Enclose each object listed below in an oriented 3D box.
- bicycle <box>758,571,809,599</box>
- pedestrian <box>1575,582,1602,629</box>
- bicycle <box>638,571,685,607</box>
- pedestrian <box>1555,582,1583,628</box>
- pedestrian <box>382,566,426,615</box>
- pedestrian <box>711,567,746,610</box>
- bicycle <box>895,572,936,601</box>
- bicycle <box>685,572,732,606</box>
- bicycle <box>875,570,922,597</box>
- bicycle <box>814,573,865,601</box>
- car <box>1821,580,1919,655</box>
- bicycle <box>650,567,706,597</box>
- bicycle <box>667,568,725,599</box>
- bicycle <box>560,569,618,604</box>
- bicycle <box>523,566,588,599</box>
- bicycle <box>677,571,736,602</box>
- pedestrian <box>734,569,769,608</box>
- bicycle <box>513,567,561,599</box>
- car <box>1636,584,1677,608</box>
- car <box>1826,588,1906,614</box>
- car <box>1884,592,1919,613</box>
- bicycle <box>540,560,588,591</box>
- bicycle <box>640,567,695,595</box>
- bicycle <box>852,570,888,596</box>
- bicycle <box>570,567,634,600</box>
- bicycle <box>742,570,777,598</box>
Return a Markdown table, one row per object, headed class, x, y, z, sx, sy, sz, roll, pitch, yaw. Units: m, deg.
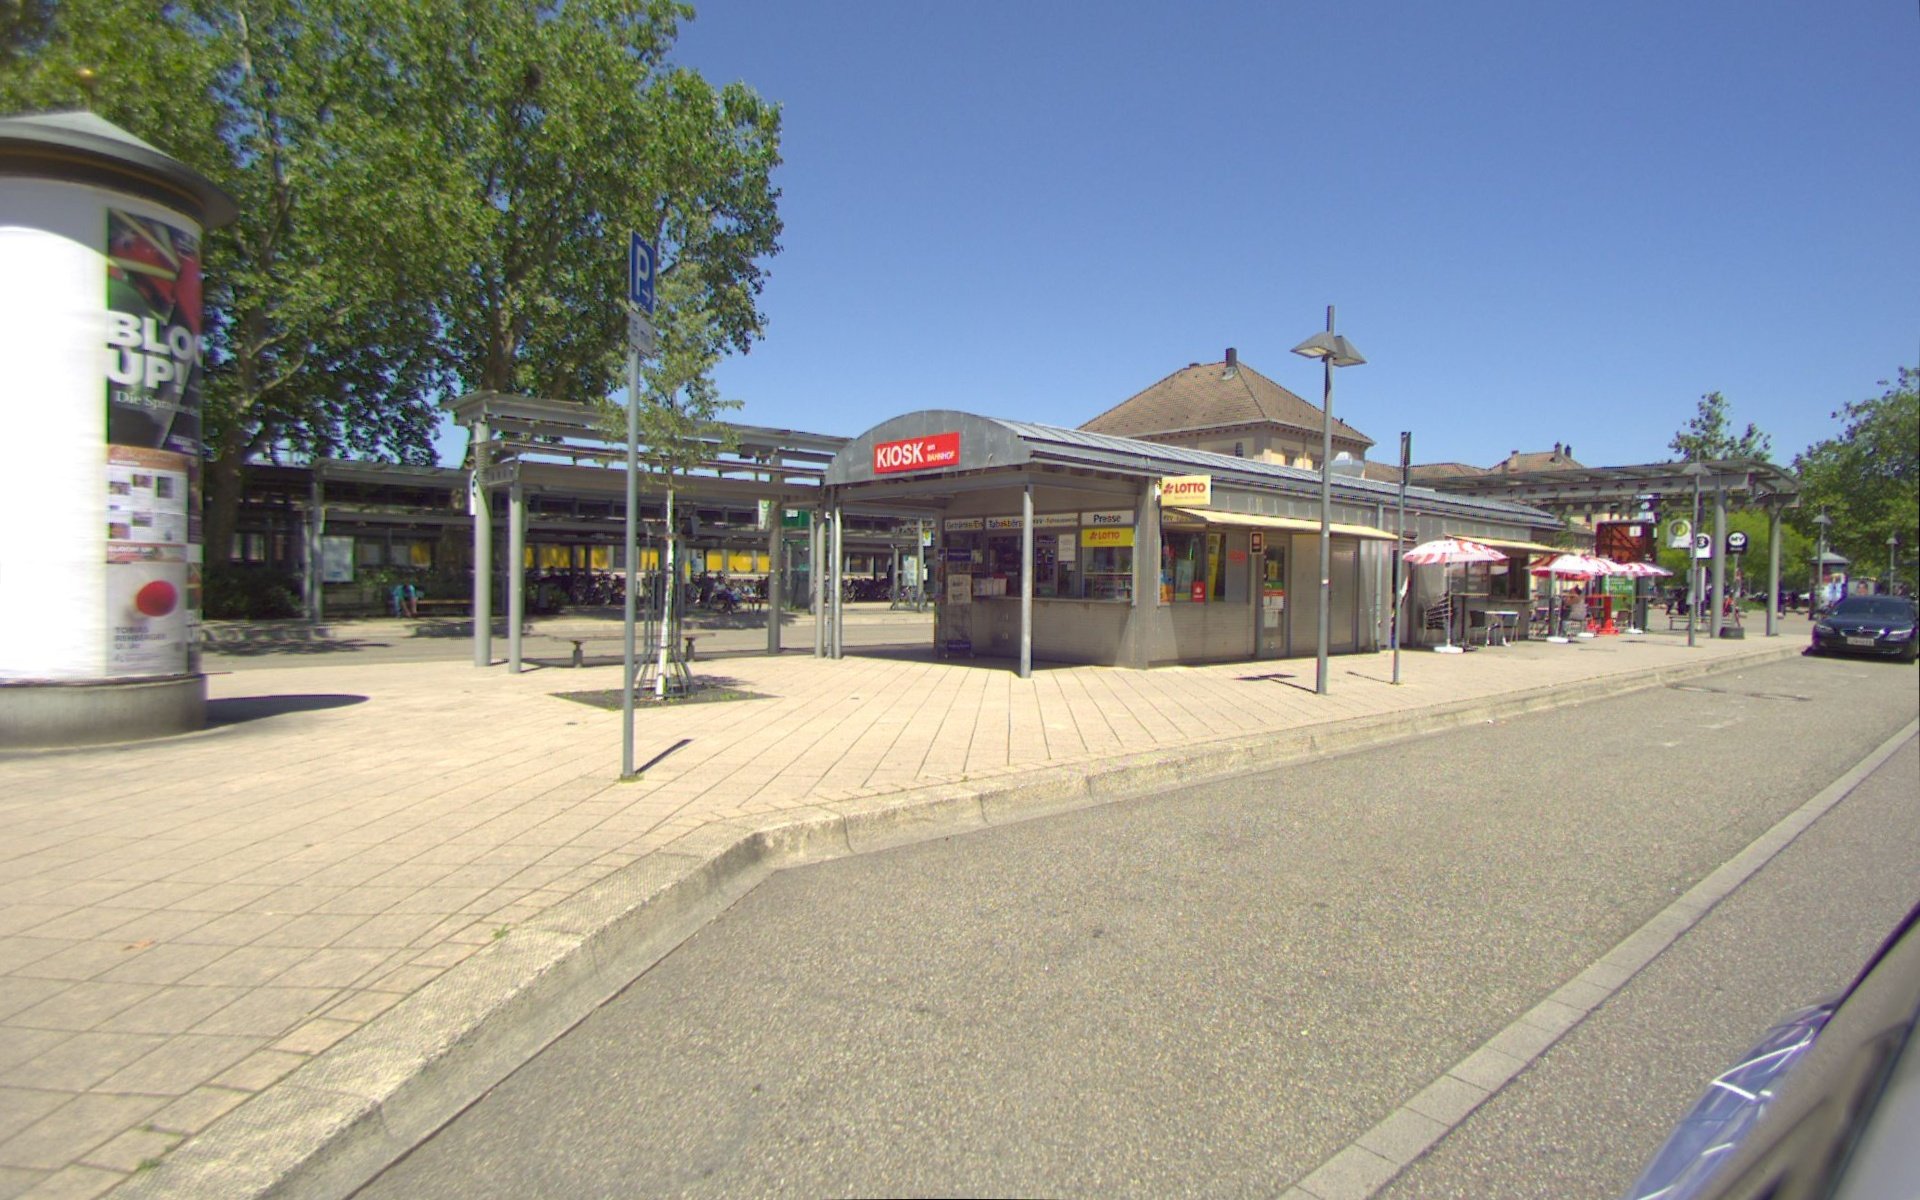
| class | x | y | z | sx | sy | sz | roll | pitch | yaw |
| --- | --- | --- | --- | --- | --- | --- | --- | --- | --- |
| bicycle | -7.560 | -0.648 | 43.260 | 2.153 | 1.086 | 0.854 | 3 | 5 | 32 |
| pedestrian | 16.875 | 0.145 | 27.160 | 0.502 | 1.247 | 0.505 | 1 | 1 | 44 |
| bicycle | -10.358 | -0.399 | 35.092 | 0.659 | 1.086 | 2.166 | -4 | 6 | -43 |
| pedestrian | 16.441 | 0.122 | 27.325 | 0.463 | 1.226 | 0.490 | 0 | 1 | -35 |
| pedestrian | -15.113 | -0.268 | 27.490 | 0.854 | 1.290 | 0.829 | 0 | 1 | -44 |
| pedestrian | -7.773 | -0.389 | 33.965 | 0.816 | 1.403 | 0.962 | 0 | 1 | -40 |
| bicycle | -1.896 | -0.587 | 42.958 | 0.658 | 1.086 | 2.170 | -4 | 6 | -36 |
| bicycle | -9.010 | -0.413 | 36.199 | 0.659 | 1.086 | 2.166 | -4 | 6 | -43 |
| bicycle | -2.834 | -0.774 | 46.818 | 2.131 | 1.086 | 0.670 | -4 | 6 | -37 |
| bicycle | -5.234 | -0.563 | 43.976 | 2.131 | 1.086 | 0.670 | -4 | 6 | -37 |
| car | 21.850 | 0.358 | 23.799 | 4.109 | 1.563 | 1.778 | 0 | 3 | -41 |
| bicycle | -11.614 | -0.751 | 41.711 | 2.131 | 1.086 | 0.670 | -4 | 6 | -37 |
| bicycle | -10.529 | -0.675 | 40.417 | 2.131 | 1.086 | 0.670 | -4 | 6 | -37 |
| bicycle | -13.285 | -0.490 | 36.327 | 0.662 | 1.086 | 2.156 | 1 | 5 | 21 |
| bicycle | -15.130 | -0.663 | 37.849 | 2.130 | 1.086 | 0.670 | -4 | 6 | -37 |
| bicycle | -9.901 | -0.531 | 39.562 | 2.131 | 1.086 | 0.670 | -4 | 6 | -37 |
| pedestrian | -7.142 | -0.395 | 34.589 | 0.816 | 1.321 | 0.962 | 0 | 1 | -40 |
| bicycle | -16.259 | -0.670 | 38.909 | 2.157 | 1.086 | 0.662 | 3 | 6 | 37 |
| car | 61.554 | -0.400 | 89.421 | 3.930 | 2.039 | 1.997 | 0 | 1 | -41 |
| car | 62.053 | 0.058 | 69.349 | 1.967 | 1.685 | 3.991 | 0 | 2 | -44 |
| car | 79.588 | 0.198 | 84.197 | 3.986 | 1.685 | 1.969 | 2 | 2 | 43 |
| bicycle | -15.503 | -0.975 | 39.596 | 2.157 | 1.086 | 0.662 | 3 | 6 | 37 |
| bicycle | -12.320 | -0.813 | 42.677 | 2.131 | 1.086 | 0.670 | -4 | 6 | -37 |
| bicycle | -4.261 | -0.798 | 47.719 | 0.658 | 1.086 | 2.170 | -4 | 6 | -36 |
| bicycle | -13.378 | -0.621 | 37.890 | 2.131 | 1.086 | 0.670 | -4 | 6 | -37 |
| bicycle | -8.943 | -0.726 | 45.141 | 0.658 | 1.086 | 2.170 | -4 | 6 | -36 |
